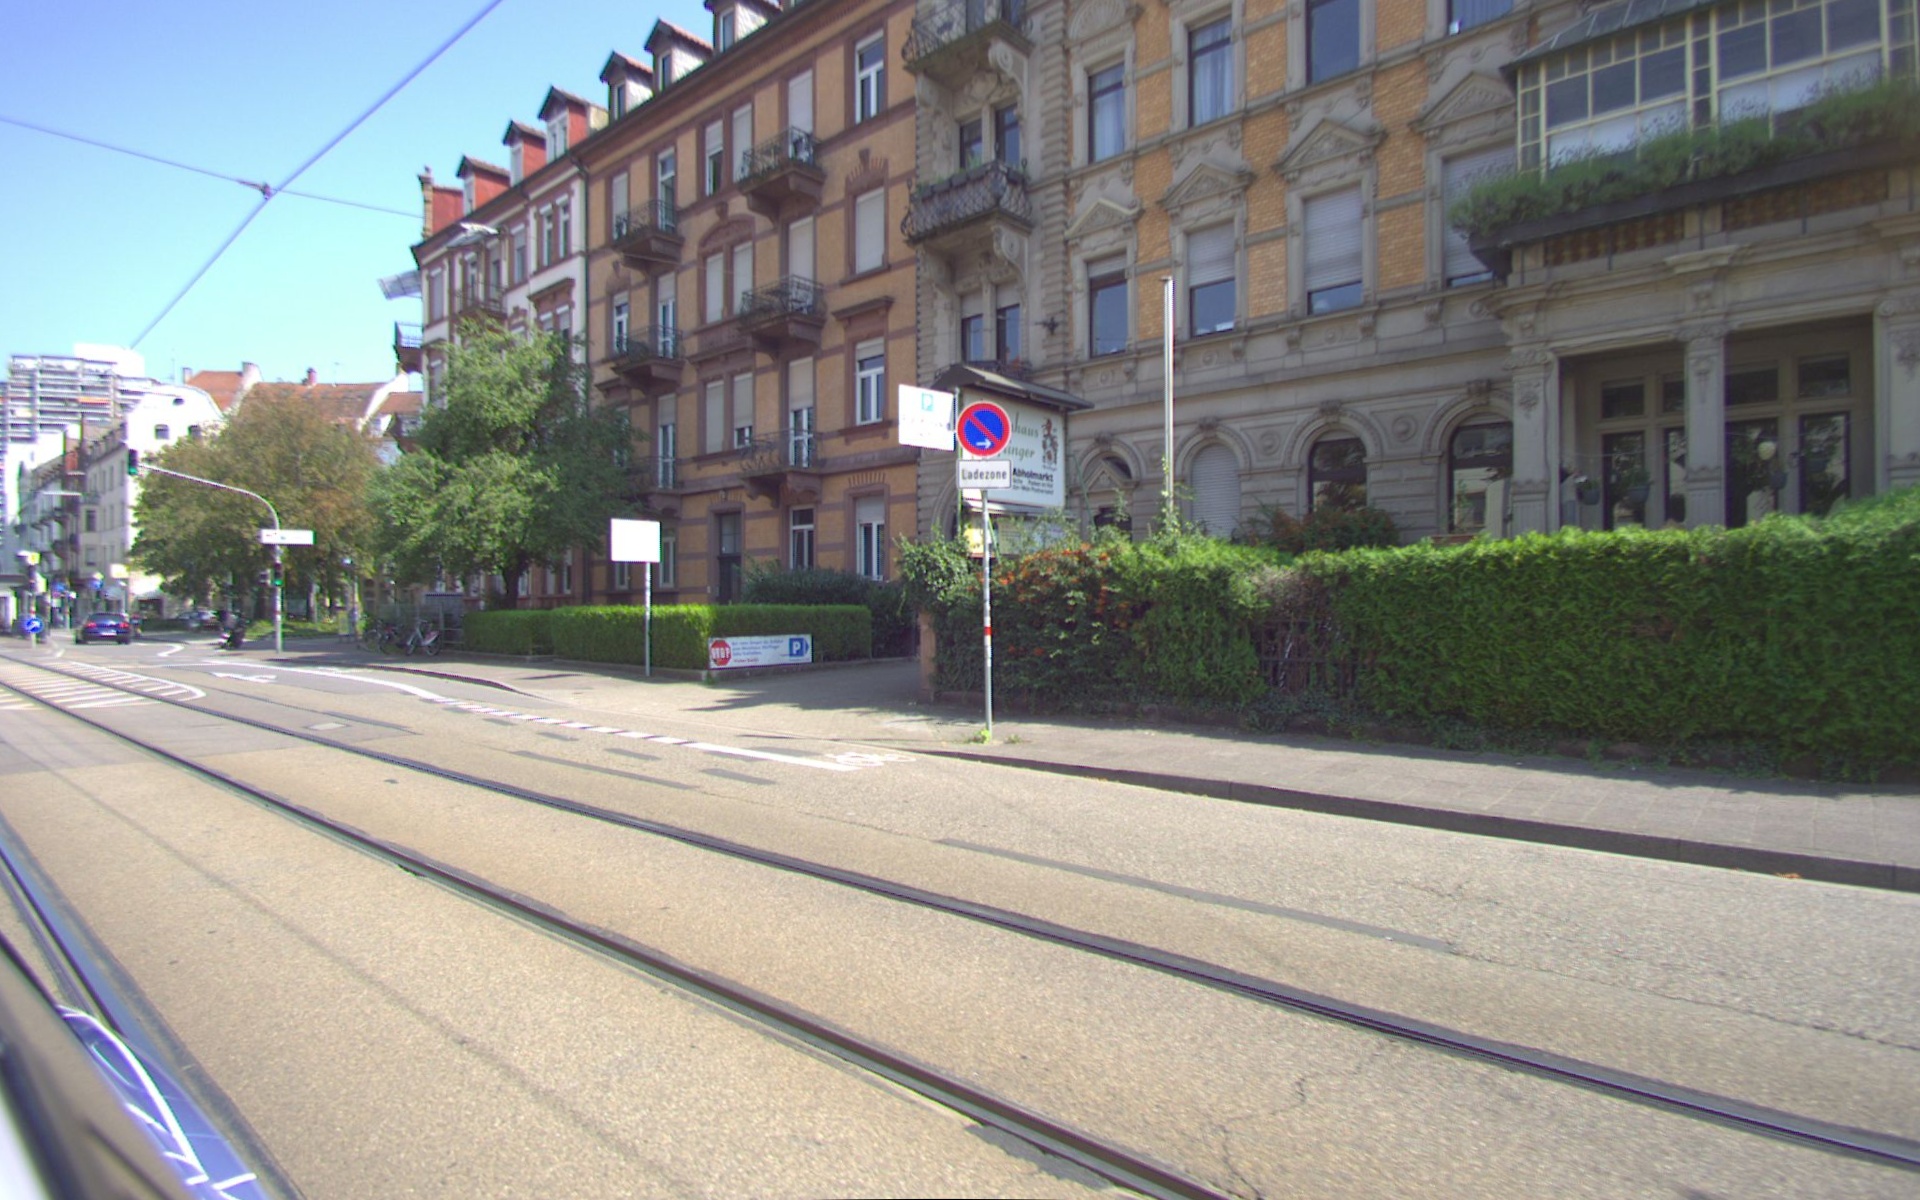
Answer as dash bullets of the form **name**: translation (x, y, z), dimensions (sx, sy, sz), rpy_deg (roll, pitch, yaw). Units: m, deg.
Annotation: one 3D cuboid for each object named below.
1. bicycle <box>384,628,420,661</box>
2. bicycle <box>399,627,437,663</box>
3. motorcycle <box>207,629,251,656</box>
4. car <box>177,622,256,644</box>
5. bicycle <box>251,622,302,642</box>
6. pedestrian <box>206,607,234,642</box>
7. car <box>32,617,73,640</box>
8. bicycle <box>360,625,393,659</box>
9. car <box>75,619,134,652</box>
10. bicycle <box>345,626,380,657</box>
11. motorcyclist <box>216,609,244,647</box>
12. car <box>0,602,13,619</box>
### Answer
- **bicycle**: translation (-16.673, 1.325, 30.215), dimensions (0.482, 0.949, 1.658), rpy_deg (0, -1, -45)
- **bicycle**: translation (-15.506, 1.261, 28.946), dimensions (0.482, 0.994, 1.658), rpy_deg (0, -1, -45)
- **motorcycle**: translation (-29.383, 1.692, 40.716), dimensions (0.682, 1.039, 2.163), rpy_deg (-1, -1, -14)
- **car**: translation (-57.630, 2.554, 78.522), dimensions (4.561, 1.739, 2.002), rpy_deg (0, -1, -4)
- **bicycle**: translation (-50.606, 2.370, 74.897), dimensions (3.454, 1.447, 1.216), rpy_deg (-1, -1, 16)
- **pedestrian**: translation (-44.055, 1.424, 60.260), dimensions (1.036, 2.029, 1.080), rpy_deg (-1, 1, 41)
- **car**: translation (-71.788, 2.226, 80.024), dimensions (4.630, 1.739, 1.972), rpy_deg (-1, -2, 43)
- **bicycle**: translation (-18.649, 1.333, 32.335), dimensions (0.482, 1.029, 1.779), rpy_deg (0, -1, -45)
- **car**: translation (-39.332, 1.595, 46.491), dimensions (4.178, 1.444, 1.707), rpy_deg (-1, -1, 44)
- **bicycle**: translation (-21.086, 1.454, 35.723), dimensions (0.481, 1.005, 1.834), rpy_deg (-1, -1, -11)
- **motorcyclist**: translation (-29.398, 1.113, 40.747), dimensions (0.680, 1.523, 0.775), rpy_deg (-1, -1, -14)
- **car**: translation (-105.215, 1.158, 110.693), dimensions (4.630, 1.739, 1.972), rpy_deg (-1, -2, 43)
